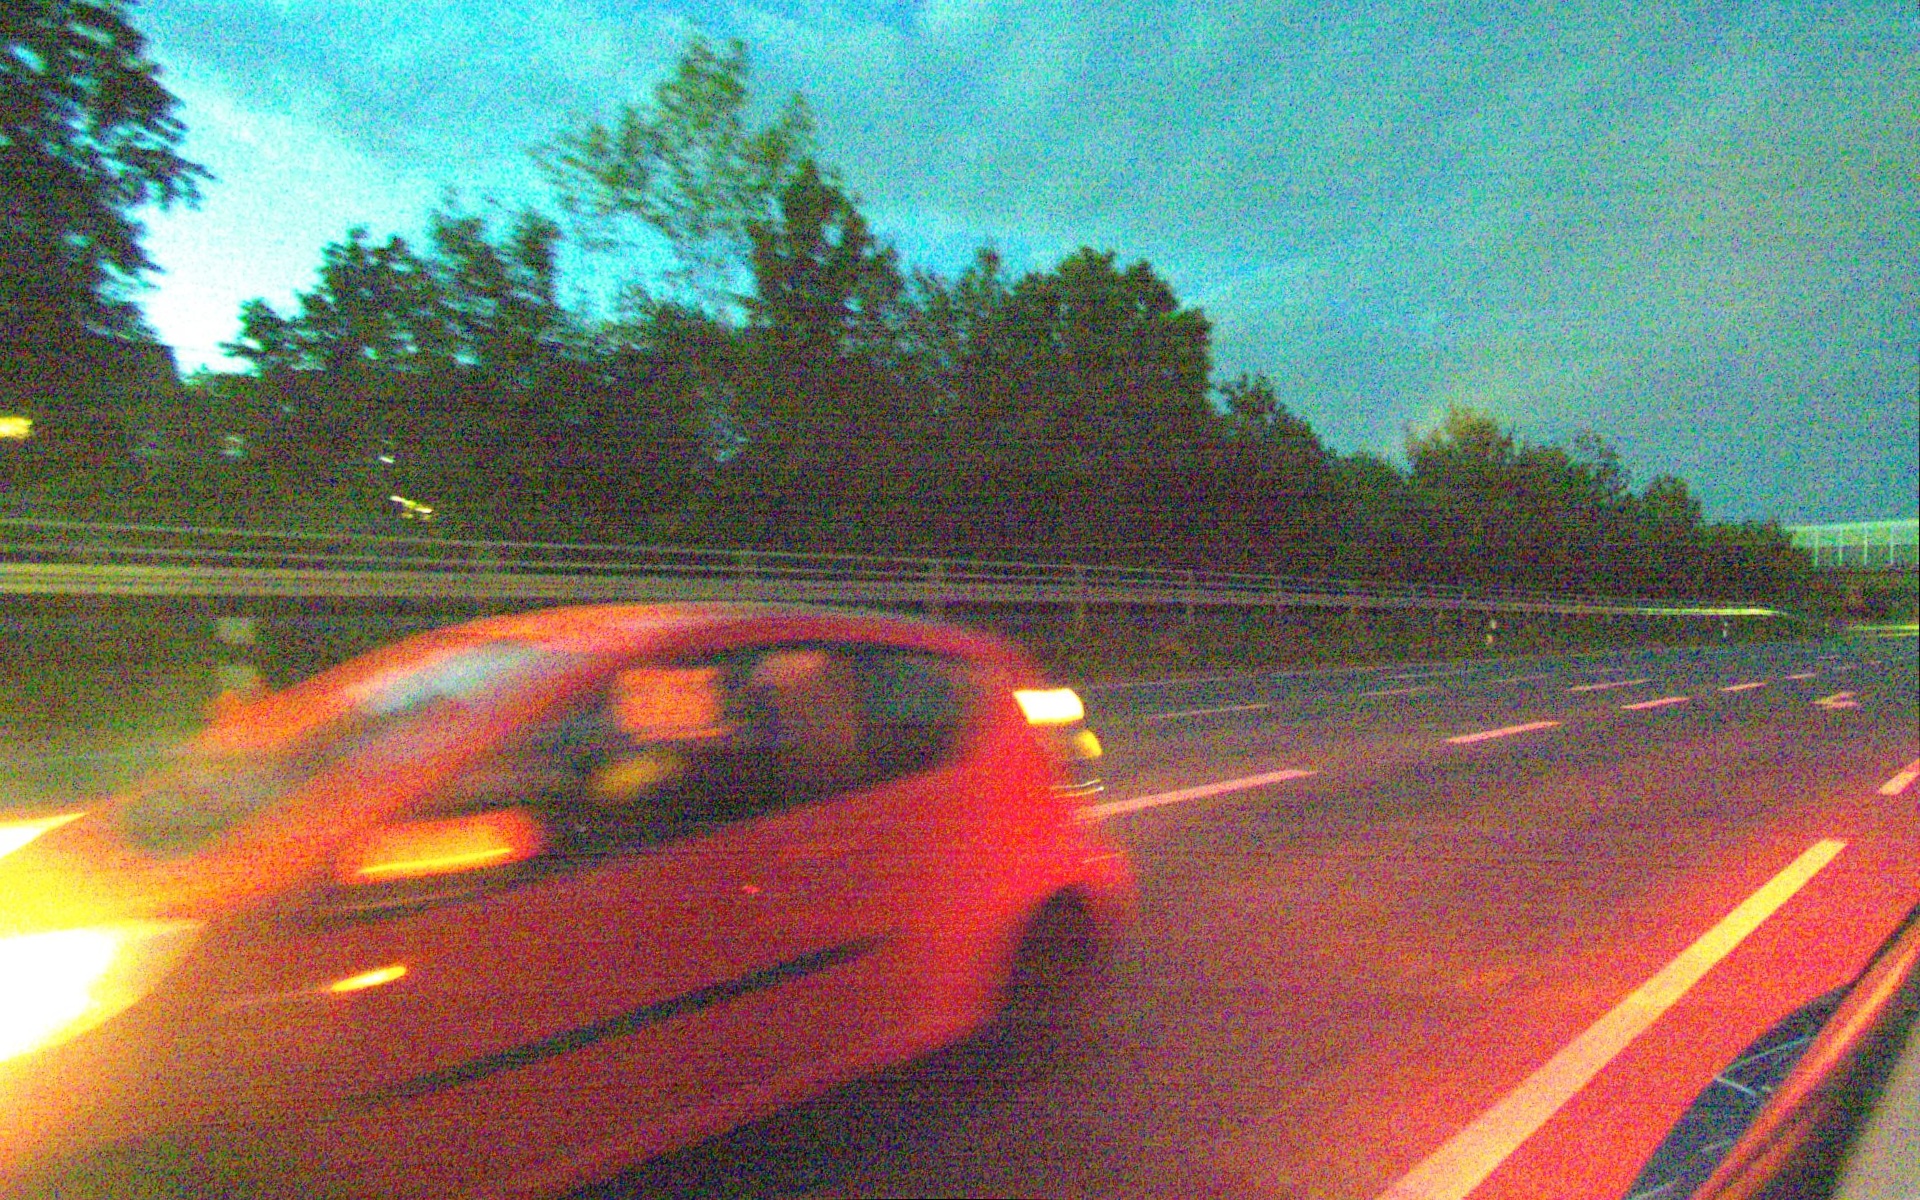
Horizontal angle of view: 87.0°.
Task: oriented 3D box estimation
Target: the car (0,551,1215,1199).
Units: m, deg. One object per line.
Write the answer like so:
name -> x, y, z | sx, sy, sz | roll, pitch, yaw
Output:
car -> -0.852, 0.661, 3.346 | 3.429, 1.469, 1.655 | 1, 0, -42
